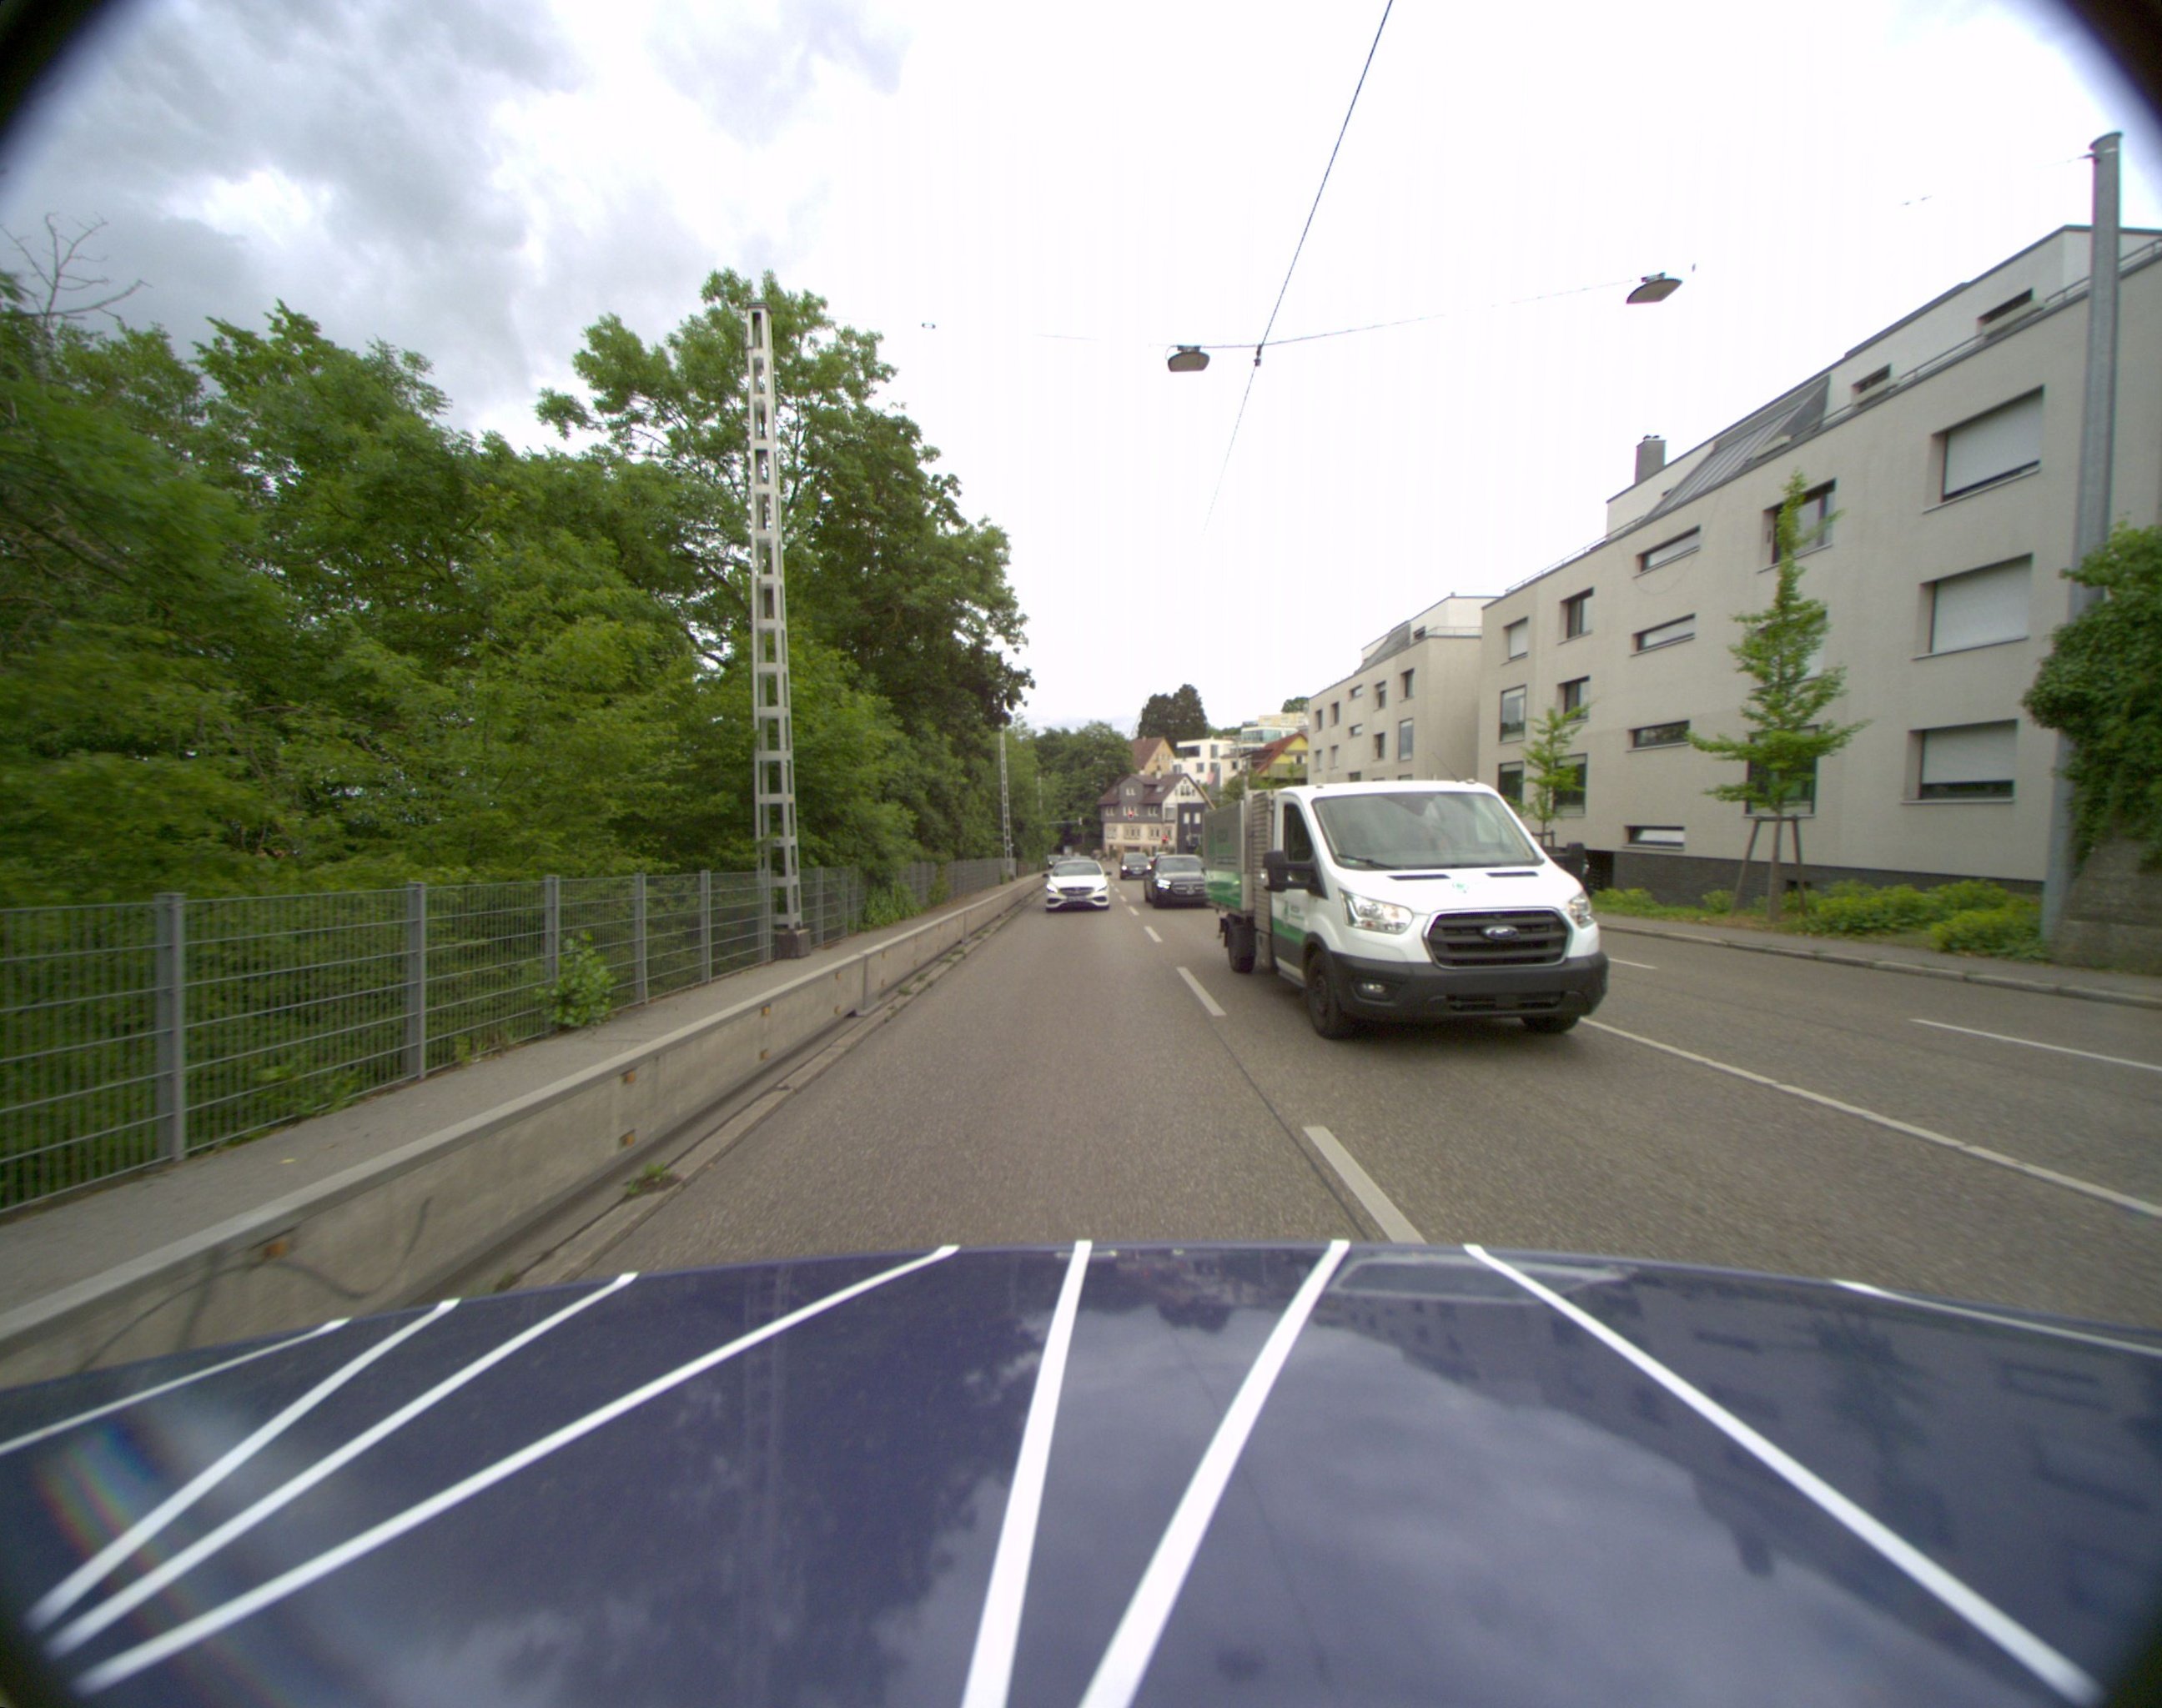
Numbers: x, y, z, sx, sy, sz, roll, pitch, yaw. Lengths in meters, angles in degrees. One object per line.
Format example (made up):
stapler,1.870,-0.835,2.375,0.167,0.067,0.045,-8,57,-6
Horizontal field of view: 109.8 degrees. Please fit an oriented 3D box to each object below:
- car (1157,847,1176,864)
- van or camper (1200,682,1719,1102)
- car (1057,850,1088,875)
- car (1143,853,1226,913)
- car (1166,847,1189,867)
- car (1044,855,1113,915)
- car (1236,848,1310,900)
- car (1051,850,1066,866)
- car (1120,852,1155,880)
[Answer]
car,9.586,0.116,85.414,1.743,1.873,3.743,0,0,1
van or camper,2.927,0.289,7.921,2.349,2.646,5.965,-2,-1,0
car,-0.523,0.536,50.506,1.878,1.521,4.000,-1,1,1
car,2.901,0.762,22.217,1.878,1.521,4.335,-1,1,1
car,9.235,0.270,73.101,1.743,1.873,3.743,0,0,1
car,-0.041,0.829,22.388,1.809,1.521,4.000,-2,1,1
car,6.692,0.651,26.867,1.709,1.702,3.868,-1,0,1
car,-2.790,0.499,94.526,1.743,1.873,3.743,0,0,1
car,3.369,0.693,45.984,1.878,1.521,4.000,-1,1,1
